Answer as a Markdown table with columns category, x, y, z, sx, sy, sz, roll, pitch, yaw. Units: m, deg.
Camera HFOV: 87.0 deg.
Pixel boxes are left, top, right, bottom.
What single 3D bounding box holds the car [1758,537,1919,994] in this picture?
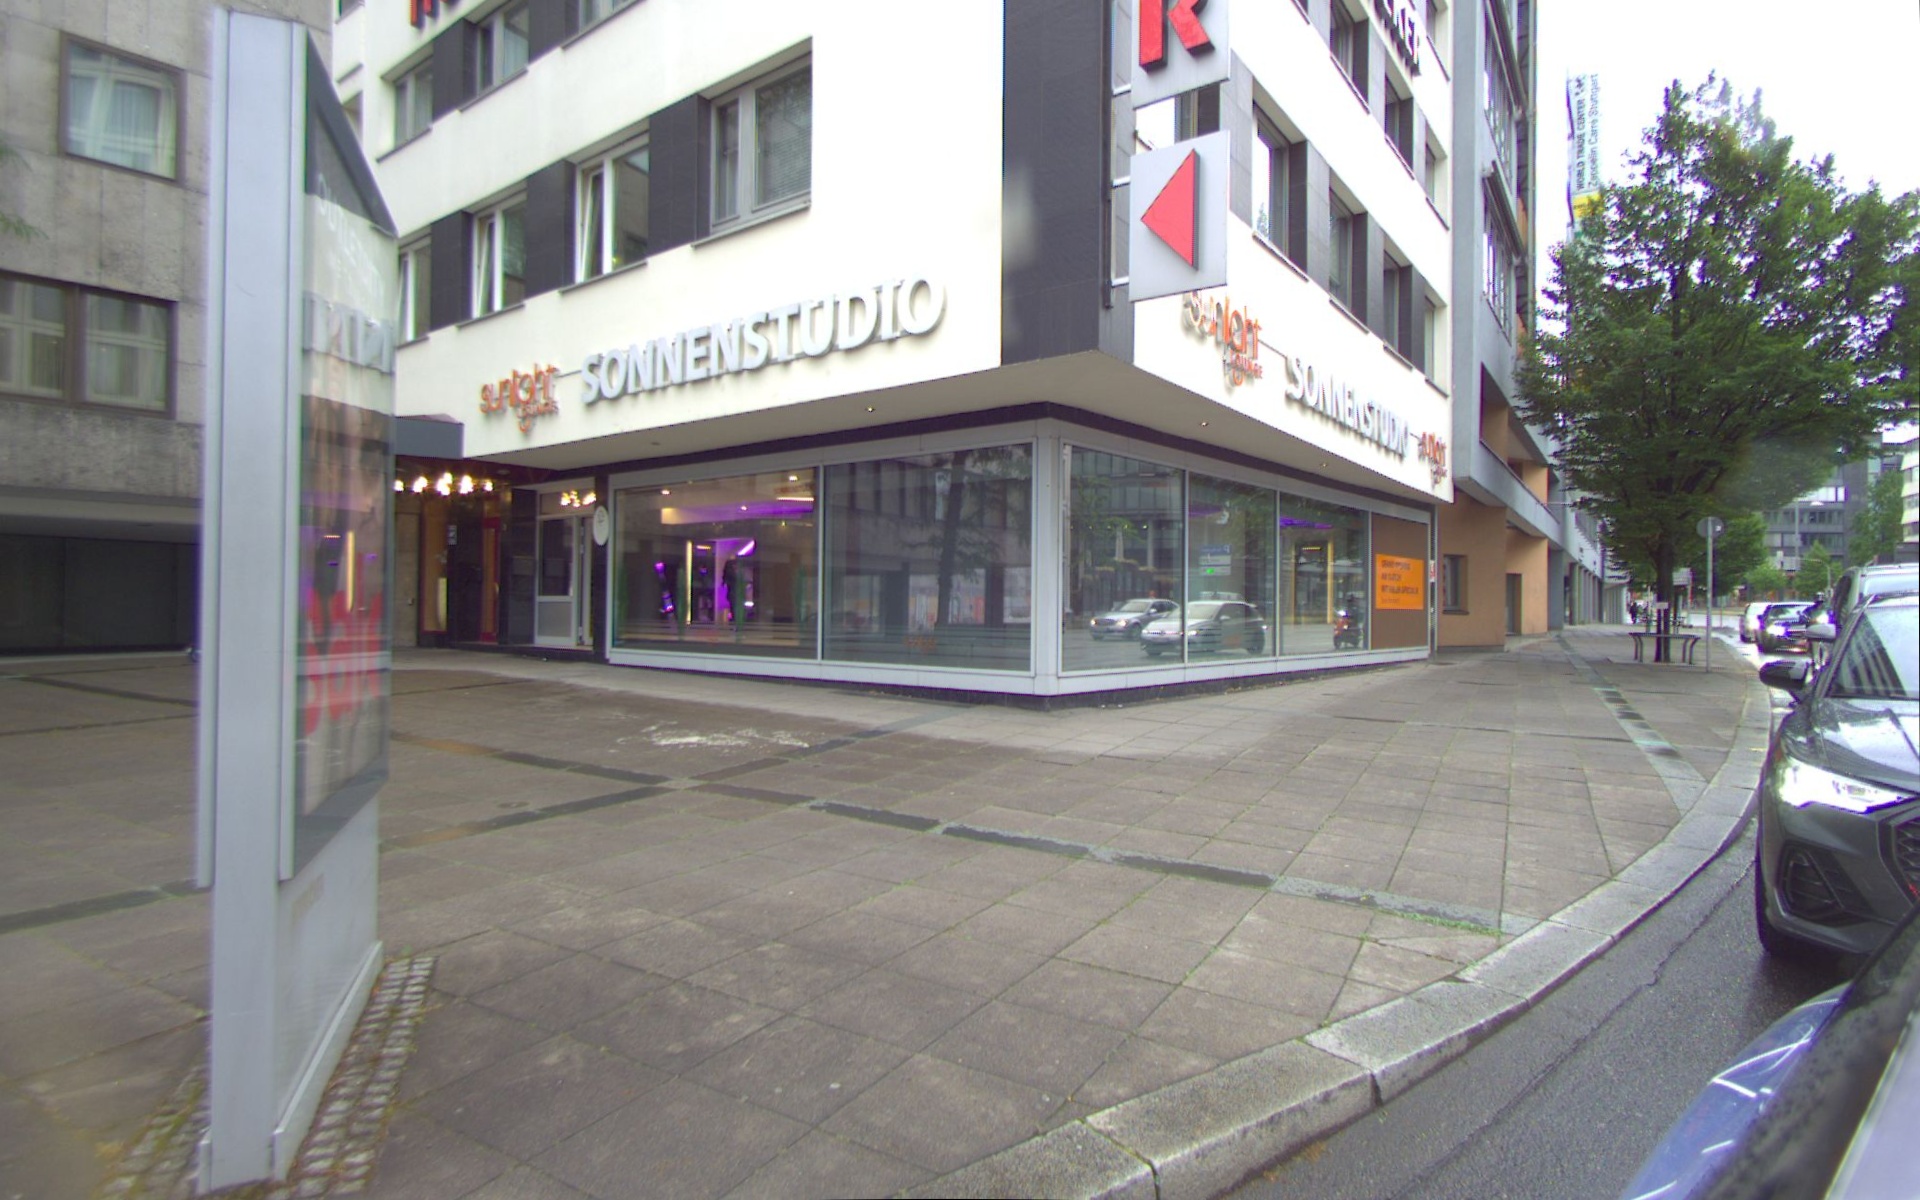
| category | x | y | z | sx | sy | sz | roll | pitch | yaw |
| --- | --- | --- | --- | --- | --- | --- | --- | --- | --- |
| car | 5.138 | 0.525 | 4.684 | 1.797 | 1.572 | 4.318 | -2 | 0 | 44 |

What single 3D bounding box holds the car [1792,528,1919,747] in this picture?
| category | x | y | z | sx | sy | sz | roll | pitch | yaw |
| --- | --- | --- | --- | --- | --- | --- | --- | --- | --- |
| car | 10.366 | 0.287 | 10.370 | 4.962 | 1.916 | 2.057 | -1 | 0 | -41 |

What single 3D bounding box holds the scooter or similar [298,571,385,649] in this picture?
| category | x | y | z | sx | sy | sz | roll | pitch | yaw |
| --- | --- | --- | --- | --- | --- | --- | --- | --- | --- |
| scooter or similar | -11.091 | 0.176 | 18.163 | 0.516 | 1.354 | 1.215 | -2 | -1 | 37 |

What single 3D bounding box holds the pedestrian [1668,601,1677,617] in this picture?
| category | x | y | z | sx | sy | sz | roll | pitch | yaw |
| --- | --- | --- | --- | --- | --- | --- | --- | --- | --- |
| pedestrian | 73.072 | 0.930 | 103.826 | 0.648 | 1.618 | 1.047 | -2 | -1 | 30 |

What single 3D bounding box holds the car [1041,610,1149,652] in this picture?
| category | x | y | z | sx | sy | sz | roll | pitch | yaw |
| --- | --- | --- | --- | --- | --- | --- | --- | --- | --- |
| car | 4.654 | 1.060 | 34.983 | 3.365 | 1.347 | 1.548 | -2 | 0 | 34 |

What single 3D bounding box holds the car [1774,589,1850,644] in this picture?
| category | x | y | z | sx | sy | sz | roll | pitch | yaw |
| --- | --- | --- | --- | --- | --- | --- | --- | --- | --- |
| car | 25.132 | 0.453 | 29.871 | 1.593 | 1.487 | 3.398 | -2 | 0 | 40 |

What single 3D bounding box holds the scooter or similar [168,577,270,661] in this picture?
| category | x | y | z | sx | sy | sz | roll | pitch | yaw |
| --- | --- | --- | --- | --- | --- | --- | --- | --- | --- |
| scooter or similar | -11.795 | 0.280 | 16.135 | 0.562 | 1.269 | 1.215 | 1 | 1 | 37 |

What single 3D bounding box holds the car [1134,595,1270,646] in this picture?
| category | x | y | z | sx | sy | sz | roll | pitch | yaw |
| --- | --- | --- | --- | --- | --- | --- | --- | --- | --- |
| car | 6.456 | 0.504 | 26.796 | 1.716 | 1.209 | 3.937 | -2 | 0 | 44 |

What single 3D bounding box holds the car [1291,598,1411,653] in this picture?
| category | x | y | z | sx | sy | sz | roll | pitch | yaw |
| --- | --- | --- | --- | --- | --- | --- | --- | --- | --- |
| car | 13.179 | 0.811 | 33.962 | 1.993 | 1.629 | 4.849 | -2 | 0 | 44 |
